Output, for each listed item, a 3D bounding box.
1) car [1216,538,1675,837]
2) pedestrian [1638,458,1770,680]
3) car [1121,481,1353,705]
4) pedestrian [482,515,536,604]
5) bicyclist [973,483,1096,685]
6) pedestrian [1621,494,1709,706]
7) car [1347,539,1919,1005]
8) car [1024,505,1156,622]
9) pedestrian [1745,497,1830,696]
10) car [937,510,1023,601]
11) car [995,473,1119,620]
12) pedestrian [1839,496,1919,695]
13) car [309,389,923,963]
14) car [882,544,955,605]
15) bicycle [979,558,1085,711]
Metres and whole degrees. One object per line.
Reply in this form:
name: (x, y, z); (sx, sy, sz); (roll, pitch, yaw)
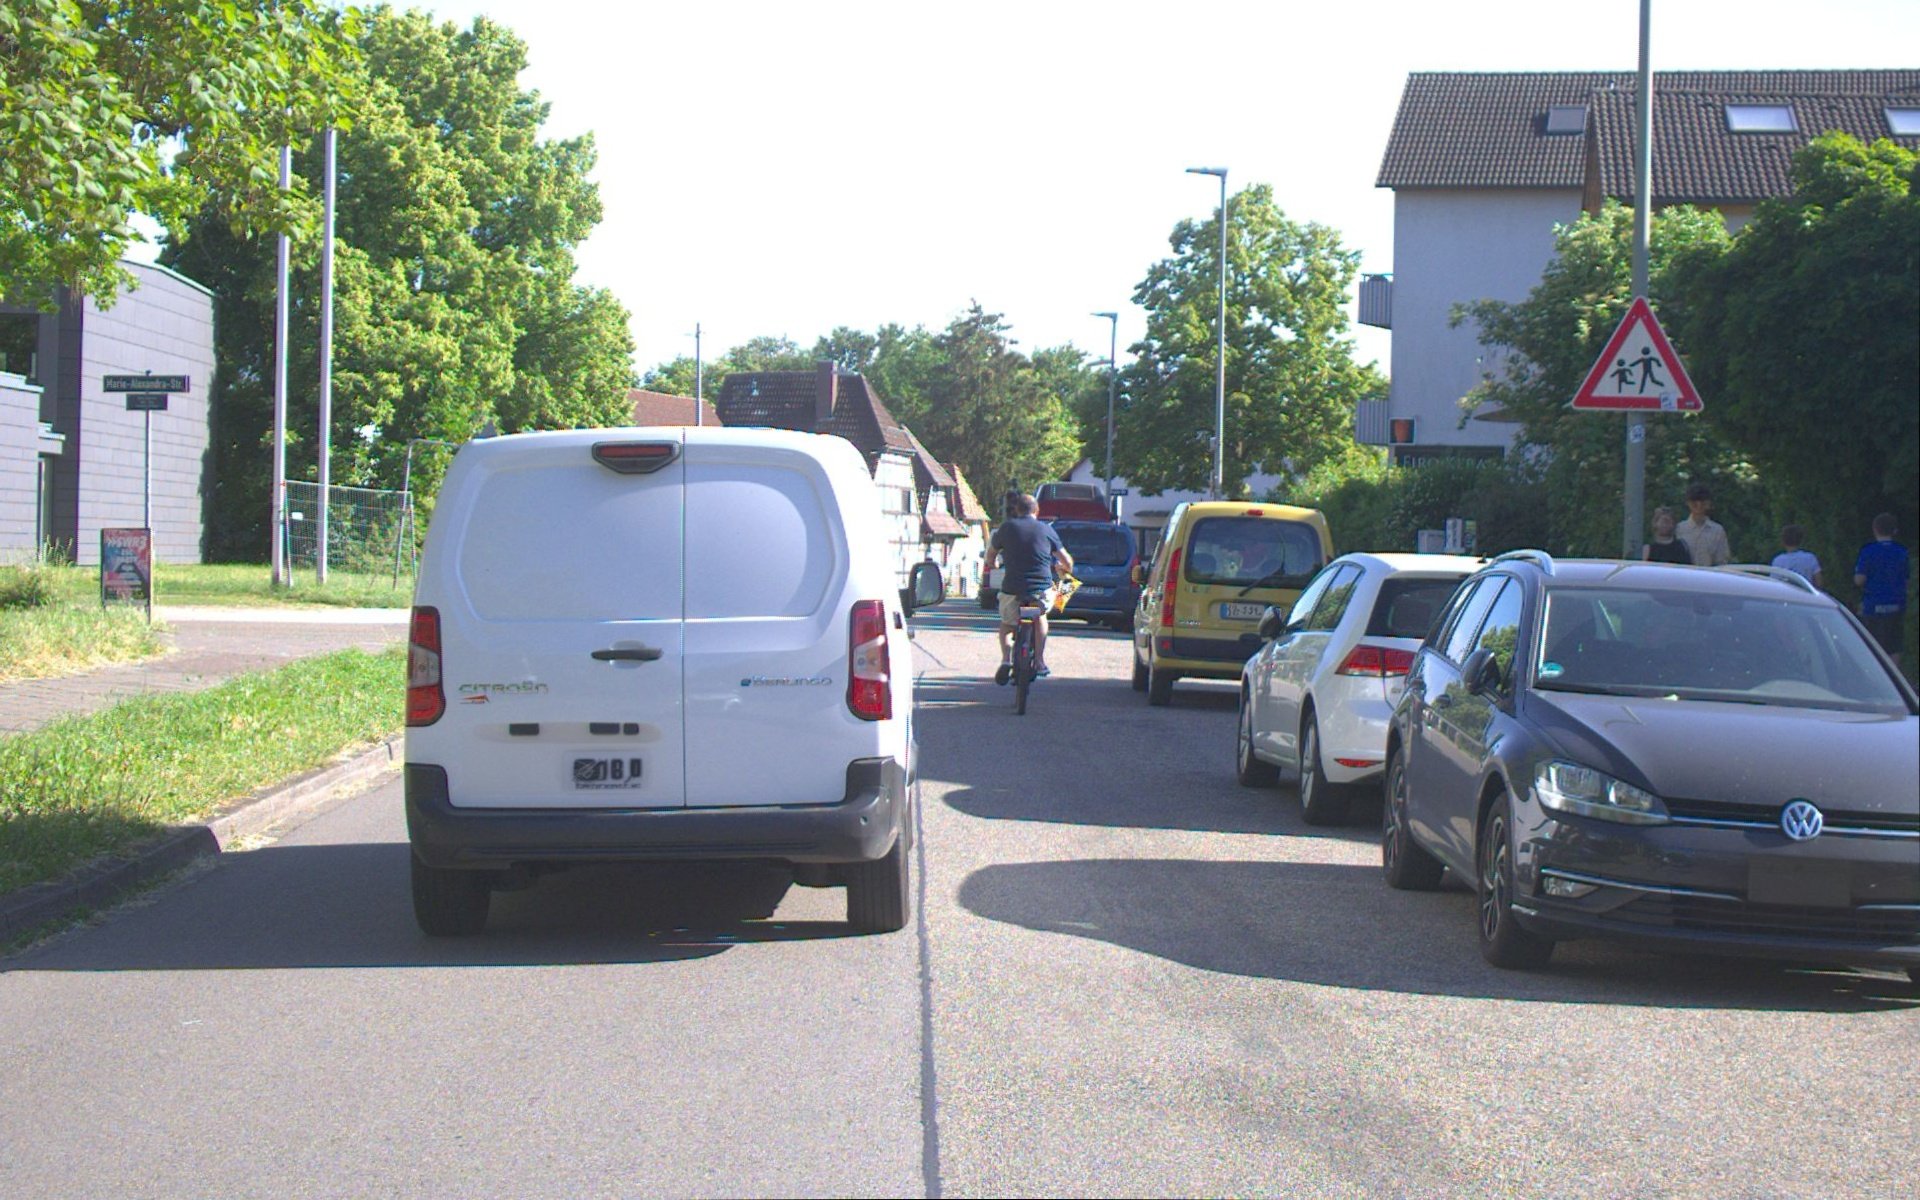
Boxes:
car: (2.597, 0.408, 19.319); (1.826, 1.447, 4.001); (2, 1, -2)
pedestrian: (6.385, -0.272, 29.541); (0.793, 1.855, 0.874); (2, 1, -8)
car: (2.433, -0.092, 31.038); (1.724, 1.831, 4.000); (2, 1, 0)
pedestrian: (-7.578, -0.687, 57.795); (0.510, 1.441, 0.638); (5, 1, 32)
bicyclist: (0.598, -0.133, 27.900); (0.905, 1.579, 0.966); (2, 0, -1)
pedestrian: (5.521, -0.005, 26.936); (0.567, 1.631, 0.546); (2, 1, 5)
car: (2.697, 0.530, 13.355); (1.807, 1.438, 4.364); (2, 1, -1)
car: (2.135, -0.596, 57.562); (1.804, 1.779, 4.000); (4, 0, -2)
pedestrian: (6.934, -0.035, 28.824); (0.567, 1.631, 0.546); (2, 1, 5)
car: (0.469, -1.071, 84.140); (1.804, 2.061, 4.000); (4, 0, -2)
car: (1.793, -0.988, 64.958); (1.866, 2.553, 4.768); (4, 0, -2)
pedestrian: (7.711, -0.041, 28.750); (0.567, 1.631, 0.546); (2, 1, 5)
car: (-1.177, 0.198, 13.655); (1.993, 1.875, 4.289); (1, 2, 0)
car: (-1.321, -0.818, 111.424); (1.804, 1.836, 3.999); (4, 0, 6)
bicycle: (0.566, 0.254, 27.862); (0.787, 1.134, 2.280); (1, 2, 0)
